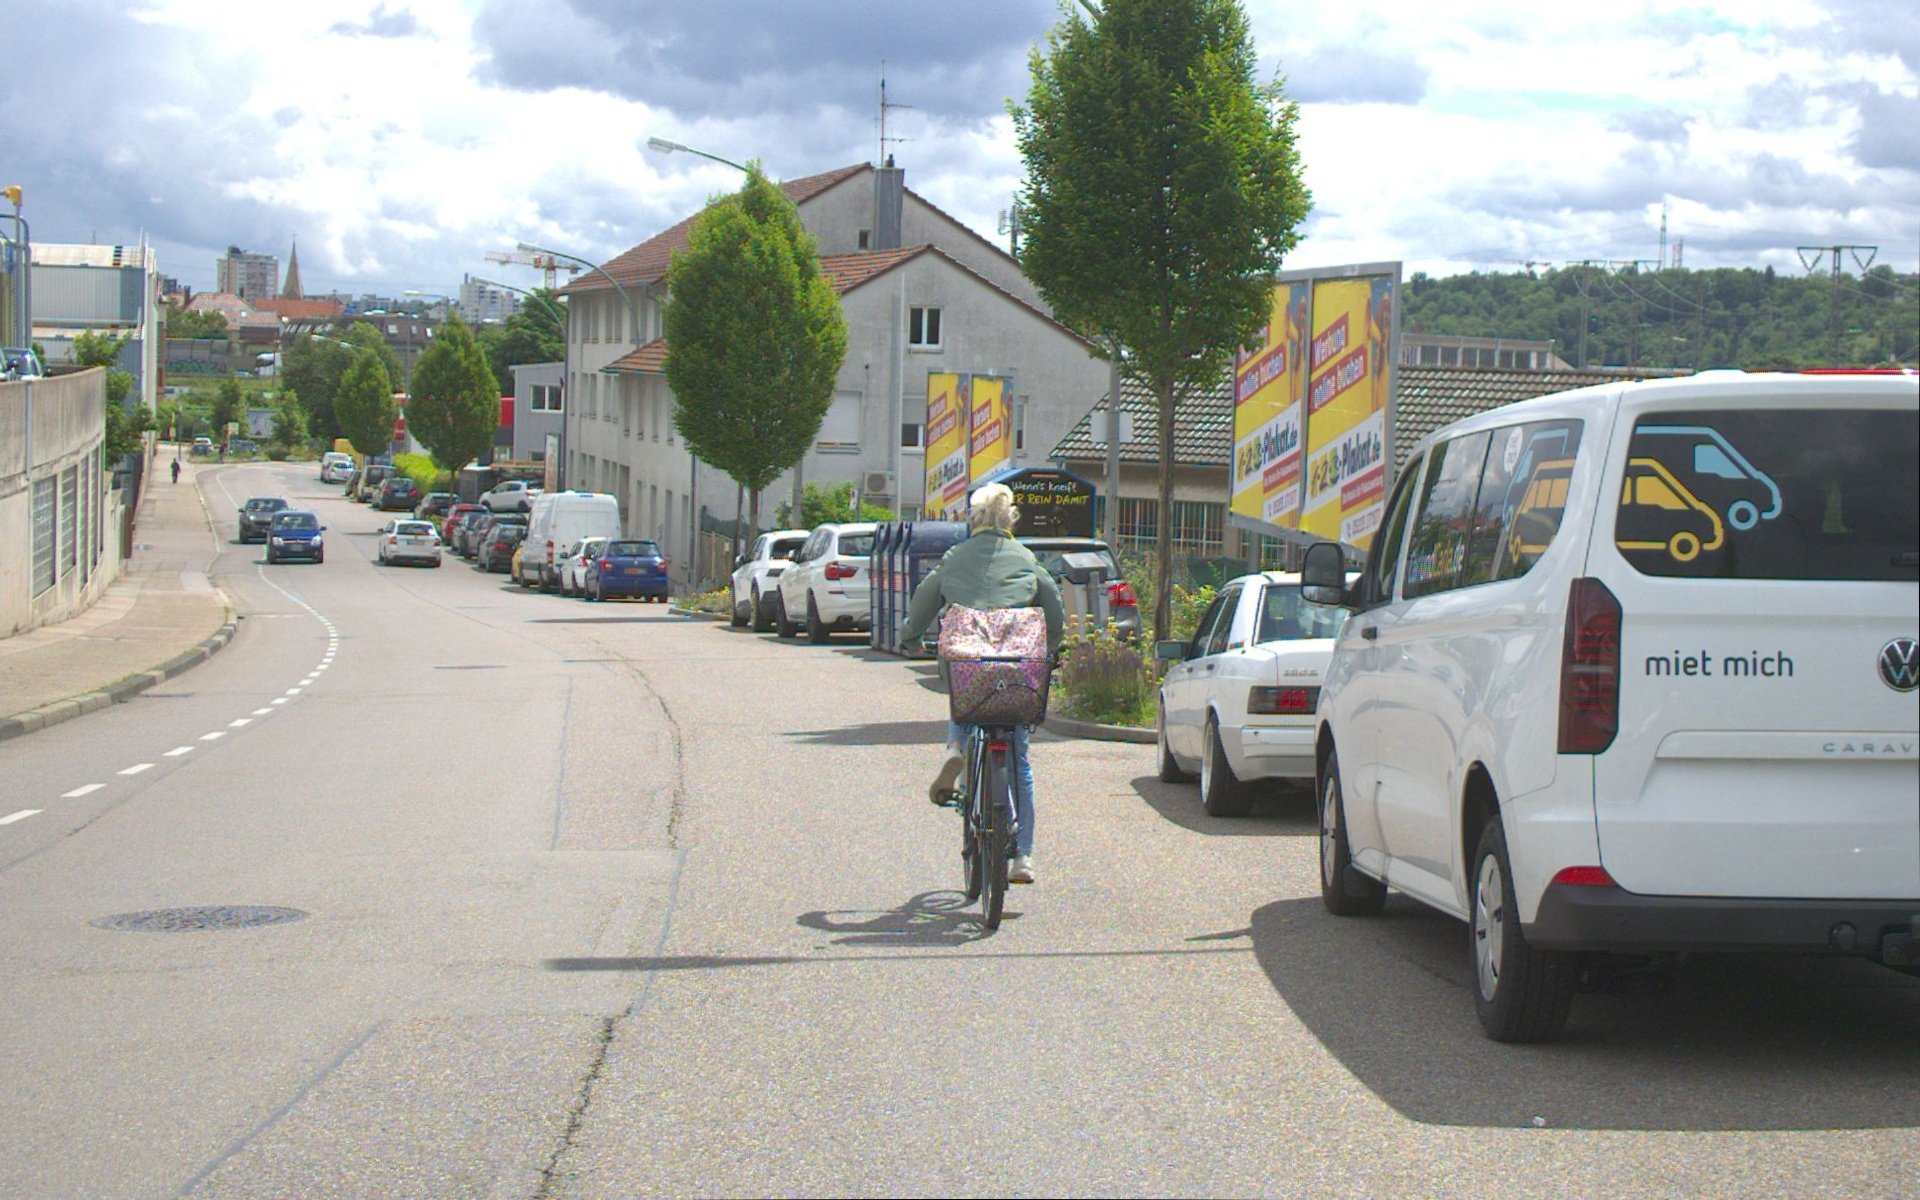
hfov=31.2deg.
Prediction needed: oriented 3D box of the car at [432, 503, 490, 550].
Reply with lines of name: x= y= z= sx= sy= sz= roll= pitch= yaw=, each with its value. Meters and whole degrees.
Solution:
car: x=-18.148 y=-2.680 z=124.943 sx=1.734 sy=1.467 sz=4.263 roll=1 pitch=3 yaw=-12

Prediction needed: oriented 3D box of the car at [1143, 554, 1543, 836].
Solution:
car: x=2.067 y=0.460 z=19.664 sx=1.637 sy=1.382 sz=4.205 roll=1 pitch=1 yaw=-2

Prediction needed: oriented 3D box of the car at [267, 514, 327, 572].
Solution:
car: x=-21.049 y=-1.815 z=109.045 sx=1.626 sy=1.811 sz=3.781 roll=0 pitch=1 yaw=-15

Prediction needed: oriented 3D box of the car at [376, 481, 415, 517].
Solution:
car: x=-27.363 y=-4.906 z=166.640 sx=1.679 sy=1.632 sz=4.124 roll=1 pitch=2 yaw=-11

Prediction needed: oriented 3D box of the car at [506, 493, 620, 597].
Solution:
car: x=-10.624 y=-1.462 z=91.600 sx=2.032 sy=2.632 sz=7.285 roll=1 pitch=1 yaw=-14

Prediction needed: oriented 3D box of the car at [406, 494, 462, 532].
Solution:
car: x=-21.530 y=-3.575 z=140.637 sx=1.790 sy=1.460 sz=4.710 roll=1 pitch=2 yaw=-14

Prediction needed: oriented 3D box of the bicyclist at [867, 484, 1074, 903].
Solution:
bicyclist: x=0.031 y=0.361 z=13.753 sx=0.739 sy=1.621 sz=0.731 roll=1 pitch=1 yaw=-5

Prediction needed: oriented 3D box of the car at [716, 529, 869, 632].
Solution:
car: x=-2.731 y=-0.329 z=55.036 sx=1.841 sy=1.560 sz=4.467 roll=-1 pitch=1 yaw=-11

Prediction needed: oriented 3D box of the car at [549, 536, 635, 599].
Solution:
car: x=-9.204 y=-0.824 z=85.715 sx=1.592 sy=1.505 sz=3.791 roll=1 pitch=1 yaw=-14

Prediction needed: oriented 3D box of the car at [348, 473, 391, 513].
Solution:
car: x=-31.134 y=-5.662 z=181.152 sx=1.868 sy=1.983 sz=5.146 roll=1 pitch=2 yaw=-13

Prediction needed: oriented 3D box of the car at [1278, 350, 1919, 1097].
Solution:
car: x=2.458 y=0.291 z=12.072 sx=1.975 sy=1.997 sz=5.547 roll=1 pitch=1 yaw=-2

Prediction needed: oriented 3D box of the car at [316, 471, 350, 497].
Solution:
car: x=-40.903 y=-7.594 z=224.158 sx=1.700 sy=1.522 sz=3.740 roll=4 pitch=2 yaw=-17

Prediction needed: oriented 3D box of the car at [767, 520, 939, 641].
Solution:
car: x=-1.585 y=-0.300 z=49.126 sx=1.685 sy=1.653 sz=4.481 roll=0 pitch=1 yaw=-12

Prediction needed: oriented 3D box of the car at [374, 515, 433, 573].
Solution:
car: x=-17.506 y=-1.768 z=108.081 sx=1.566 sy=1.780 sz=3.607 roll=1 pitch=1 yaw=-13

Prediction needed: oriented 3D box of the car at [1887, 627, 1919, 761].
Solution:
car: x=13.729 y=1.160 z=41.827 sx=4.447 sy=1.549 sz=2.000 roll=1 pitch=1 yaw=6

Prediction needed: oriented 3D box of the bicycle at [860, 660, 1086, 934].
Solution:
bicycle: x=0.026 y=0.756 z=13.767 sx=0.740 sy=0.972 sz=1.732 roll=1 pitch=0 yaw=-5

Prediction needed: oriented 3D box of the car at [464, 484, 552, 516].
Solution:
car: x=-21.238 y=-4.693 z=161.479 sx=4.071 sy=1.457 sz=1.721 roll=1 pitch=4 yaw=39

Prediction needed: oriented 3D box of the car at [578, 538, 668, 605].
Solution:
car: x=-7.954 y=-0.689 z=80.842 sx=1.566 sy=1.505 sz=4.095 roll=1 pitch=1 yaw=-13

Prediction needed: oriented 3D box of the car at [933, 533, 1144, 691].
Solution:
car: x=0.728 y=0.078 z=34.580 sx=1.655 sy=1.480 sz=4.045 roll=-1 pitch=1 yaw=-5

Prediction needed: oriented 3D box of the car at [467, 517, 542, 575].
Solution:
car: x=-14.285 y=-1.713 z=107.515 sx=1.704 sy=1.504 sz=5.090 roll=3 pitch=3 yaw=-14
